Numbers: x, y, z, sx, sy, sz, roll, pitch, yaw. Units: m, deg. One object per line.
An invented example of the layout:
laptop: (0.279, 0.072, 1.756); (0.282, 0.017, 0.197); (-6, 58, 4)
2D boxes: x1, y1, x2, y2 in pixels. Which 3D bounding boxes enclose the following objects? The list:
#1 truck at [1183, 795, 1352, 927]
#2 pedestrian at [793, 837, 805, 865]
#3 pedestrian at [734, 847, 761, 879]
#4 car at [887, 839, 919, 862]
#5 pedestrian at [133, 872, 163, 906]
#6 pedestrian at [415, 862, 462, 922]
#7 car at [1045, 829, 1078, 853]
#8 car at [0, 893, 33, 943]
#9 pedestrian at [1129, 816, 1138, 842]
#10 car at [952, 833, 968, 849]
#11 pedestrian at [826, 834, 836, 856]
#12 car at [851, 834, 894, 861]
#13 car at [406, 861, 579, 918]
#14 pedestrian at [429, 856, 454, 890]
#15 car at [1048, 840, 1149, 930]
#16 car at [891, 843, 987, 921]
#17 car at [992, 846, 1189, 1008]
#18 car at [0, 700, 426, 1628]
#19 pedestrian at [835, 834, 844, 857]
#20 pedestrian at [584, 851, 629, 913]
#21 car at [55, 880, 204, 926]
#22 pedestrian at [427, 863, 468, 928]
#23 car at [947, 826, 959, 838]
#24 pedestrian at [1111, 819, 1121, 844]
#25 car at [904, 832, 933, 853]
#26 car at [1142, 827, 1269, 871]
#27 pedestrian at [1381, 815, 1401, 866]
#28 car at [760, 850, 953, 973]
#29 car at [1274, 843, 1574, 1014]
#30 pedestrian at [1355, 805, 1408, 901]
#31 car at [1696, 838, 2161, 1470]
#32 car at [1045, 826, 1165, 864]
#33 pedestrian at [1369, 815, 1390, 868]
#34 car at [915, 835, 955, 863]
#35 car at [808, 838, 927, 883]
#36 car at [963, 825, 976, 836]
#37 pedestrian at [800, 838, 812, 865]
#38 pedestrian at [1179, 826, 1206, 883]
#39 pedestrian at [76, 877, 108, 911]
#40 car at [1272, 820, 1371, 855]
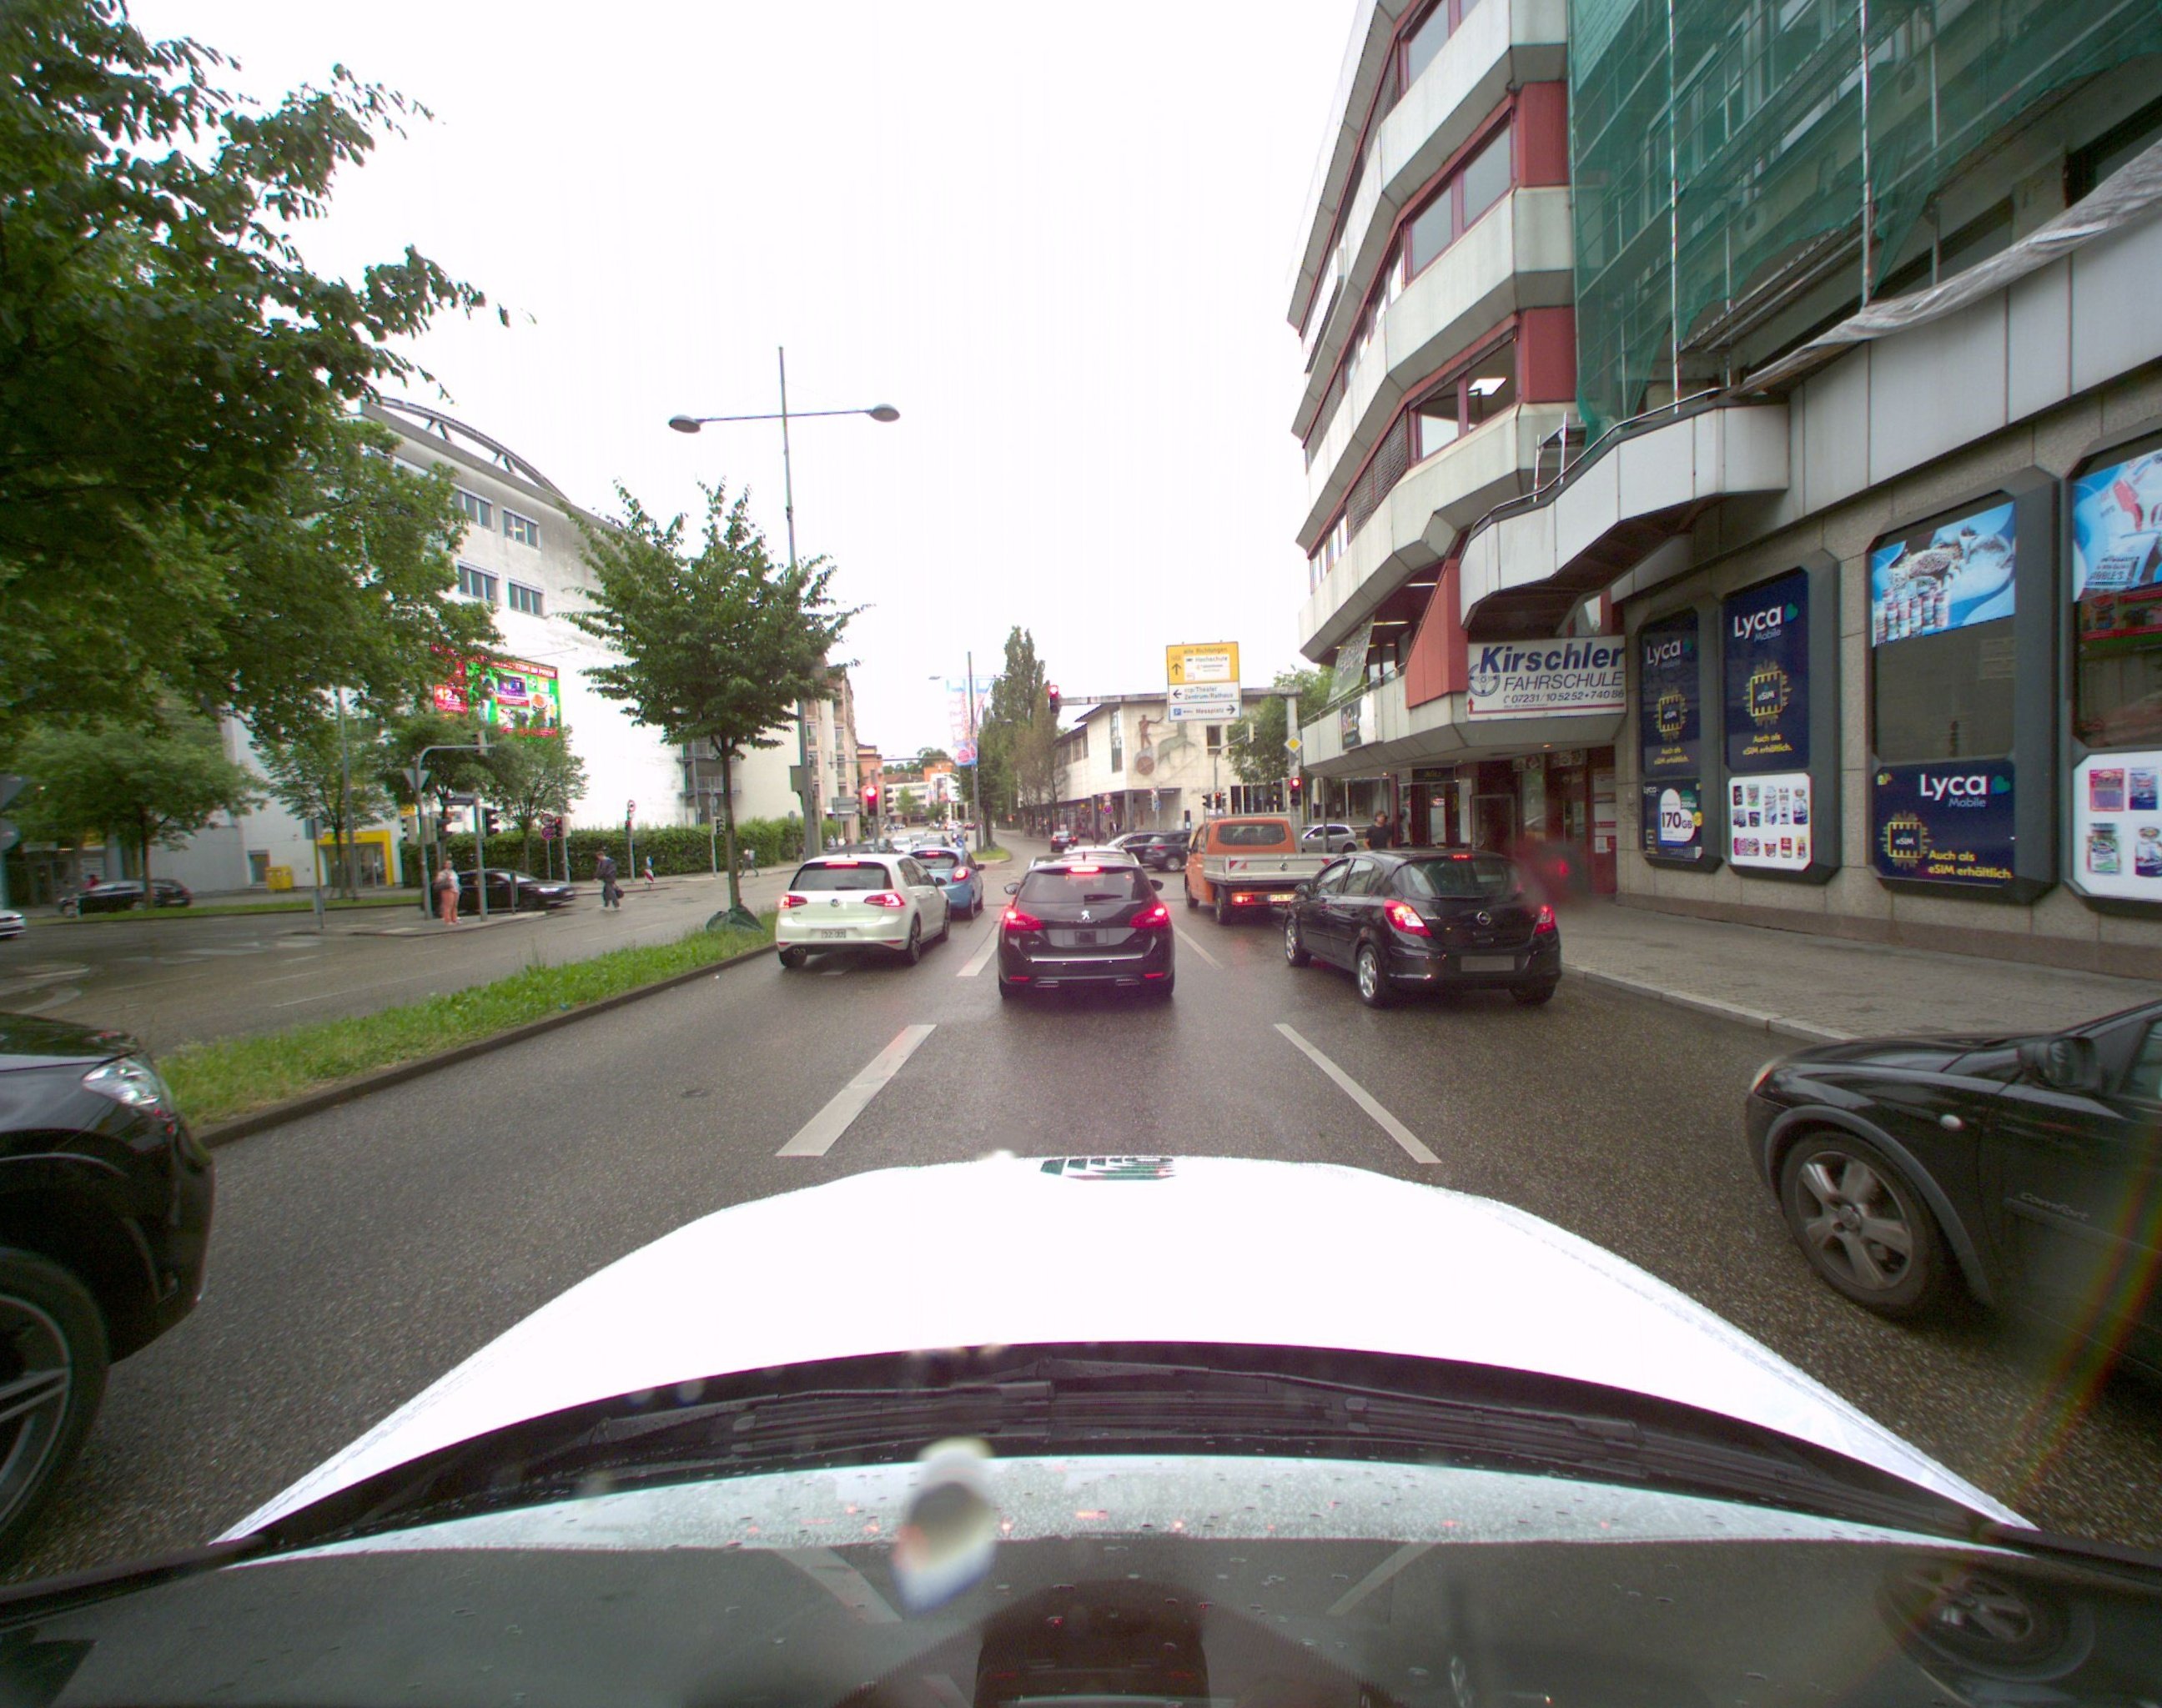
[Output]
truck: (3.426, 0.054, 16.080); (2.170, 2.172, 5.020); (-1, 1, 0)
pedestrian: (-17.567, -0.190, 50.783); (0.538, 1.748, 0.745); (-1, -1, -7)
pedestrian: (-16.736, 0.462, 40.858); (1.059, 1.578, 0.683); (-1, -1, -3)
car: (-11.995, -0.282, 55.085); (1.630, 1.486, 3.604); (-1, 1, -4)
pedestrian: (-45.343, 1.679, 39.599); (0.727, 1.643, 0.640); (-1, -1, 7)
pedestrian: (-18.604, 1.099, 23.591); (0.750, 1.661, 0.628); (-2, 2, 1)
car: (-1.379, -0.846, 55.403); (1.724, 1.490, 4.719); (-1, -1, -8)
car: (-35.459, 2.018, 24.990); (4.280, 1.486, 1.637); (-1, 1, -2)
pedestrian: (3.883, -1.864, 60.367); (0.633, 1.897, 0.735); (-1, -1, 8)
car: (-13.532, -1.396, 91.062); (1.743, 1.640, 3.988); (-1, -1, -9)
pedestrian: (-19.316, -0.686, 62.875); (0.595, 1.728, 0.655); (-1, -1, -7)
car: (-11.870, -0.387, 46.544); (1.569, 1.486, 3.608); (-1, 1, -1)
car: (-19.277, 1.132, 26.840); (4.226, 1.565, 1.699); (-3, 1, -9)
pedestrian: (-31.862, 0.937, 40.555); (0.730, 1.643, 0.638); (-1, -1, -6)
car: (0.347, 0.488, 15.638); (1.690, 1.486, 3.795); (-1, 1, 2)
car: (-3.011, 0.533, 17.915); (1.629, 1.486, 3.606); (-1, 1, -3)
car: (0.091, 0.646, 9.349); (1.772, 1.429, 3.842); (-1, 1, 0)
car: (-3.208, 0.610, 0.146); (1.903, 1.870, 5.076); (-1, -1, 2)
pedestrian: (-18.694, -0.668, 62.996); (0.595, 1.728, 0.655); (-1, -1, -7)
pedestrian: (-13.966, 0.824, 23.980); (0.921, 1.784, 0.708); (-1, -1, -4)
car: (-39.699, 2.026, 34.057); (4.036, 1.454, 1.794); (-4, 3, 2)
pedestrian: (-17.024, 1.102, 21.890); (0.555, 1.661, 0.580); (-2, 2, 2)
car: (-23.107, -3.933, 147.086); (1.709, 1.882, 3.979); (0, -1, -15)
pedestrian: (2.577, -1.633, 59.439); (0.633, 1.758, 0.735); (-1, -1, 8)
car: (-12.300, -0.876, 61.826); (1.630, 1.486, 3.604); (-1, 1, -4)
car: (4.717, -0.215, 31.211); (4.488, 1.454, 1.789); (-2, 2, -8)
pedestrian: (10.158, -0.427, 26.731); (0.395, 1.640, 0.504); (-3, -1, 2)
car: (-3.039, 0.694, 11.863); (1.772, 1.429, 3.841); (-1, 1, -1)
car: (3.396, 0.611, 8.887); (1.611, 1.429, 3.840); (-1, 1, -1)
pedestrian: (6.033, -0.021, 16.400); (0.736, 1.816, 0.776); (-6, -1, 13)
car: (3.243, 0.688, 1.520); (1.600, 1.429, 3.626); (-1, 1, 3)
car: (0.991, -0.387, 33.731); (4.726, 1.486, 1.632); (-1, 1, -12)
pedestrian: (9.654, -0.403, 26.384); (0.424, 1.682, 0.450); (-3, -1, 0)
car: (-8.630, -0.258, 48.420); (1.739, 1.579, 3.997); (-1, -1, -1)
car: (-8.867, 0.215, 33.804); (4.510, 1.454, 1.780); (-5, 3, -22)
car: (-20.300, -4.281, 147.996); (1.709, 1.936, 3.979); (0, -1, -15)
pedestrian: (-17.697, -0.149, 52.405); (0.538, 1.748, 0.564); (-1, -1, -3)
pedestrian: (3.332, 0.010, 24.475); (0.745, 1.680, 0.710); (-1, -1, 4)
pedestrian: (-48.456, 1.962, 39.906); (0.633, 1.643, 0.735); (-1, -1, 8)
car: (10.599, -0.712, 36.002); (3.896, 1.486, 1.617); (-1, -1, -11)
